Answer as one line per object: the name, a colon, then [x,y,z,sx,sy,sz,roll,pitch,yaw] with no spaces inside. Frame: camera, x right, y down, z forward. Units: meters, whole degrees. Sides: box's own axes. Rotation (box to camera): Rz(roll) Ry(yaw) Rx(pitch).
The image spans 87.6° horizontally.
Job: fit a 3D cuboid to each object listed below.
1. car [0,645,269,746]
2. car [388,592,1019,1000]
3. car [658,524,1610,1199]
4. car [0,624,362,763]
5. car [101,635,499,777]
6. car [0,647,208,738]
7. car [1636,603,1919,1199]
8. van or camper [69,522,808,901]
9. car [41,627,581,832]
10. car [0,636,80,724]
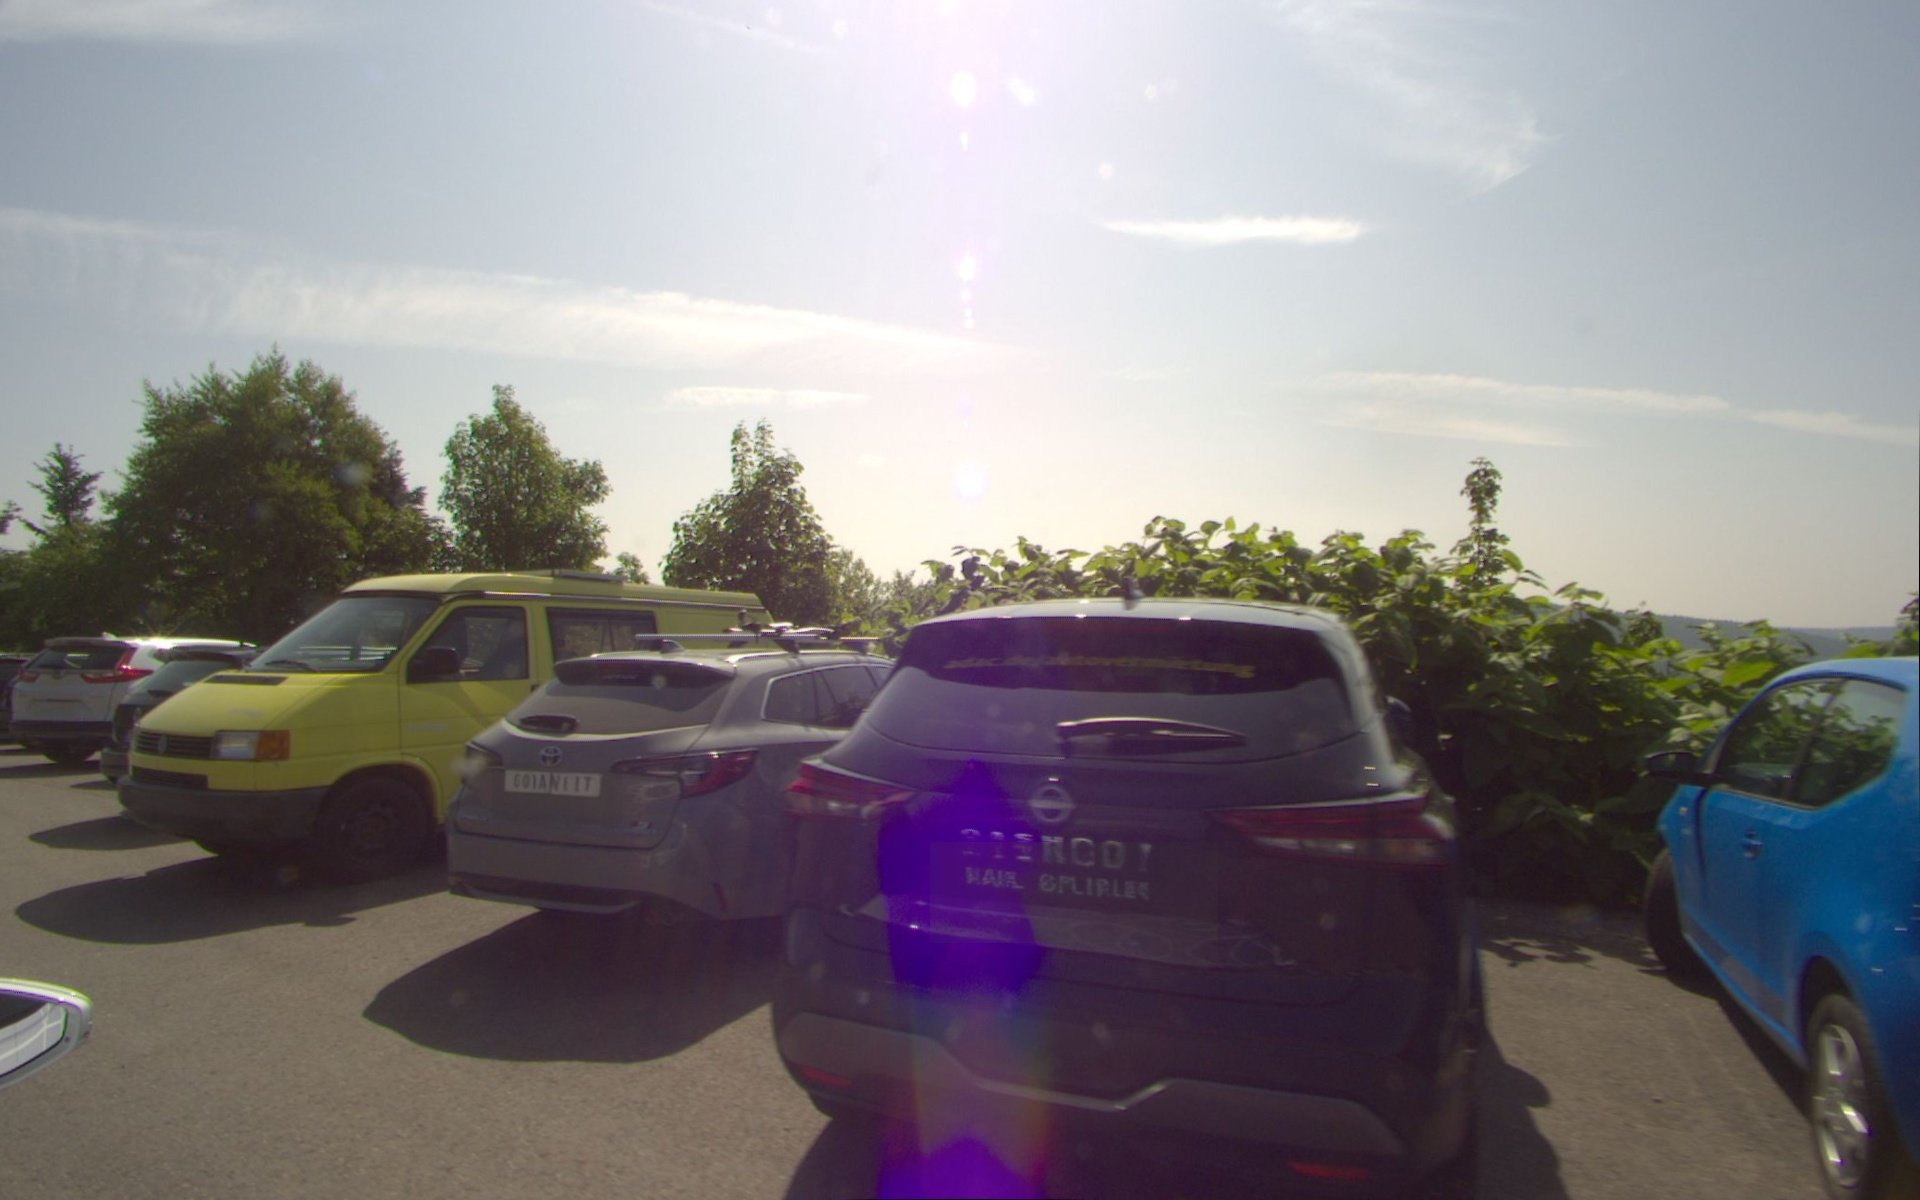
car: [-13.758,1.555,16.689,1.630,1.476,3.811,0,-4,3]
car: [-1.074,0.883,6.218,1.675,1.609,4.158,0,-3,21]
car: [0.884,0.797,3.860,1.883,1.633,3.994,0,-3,20]
car: [-10.868,1.299,14.261,1.855,1.669,4.190,0,-4,6]
car: [-8.165,1.265,12.930,1.908,1.518,4.099,-1,-3,13]
car: [-16.135,1.653,18.250,1.858,1.478,4.057,0,-4,-3]
car: [3.512,0.880,3.332,1.621,1.514,3.583,0,-4,27]
van or camper: [-3.531,0.783,8.092,1.853,2.038,5.092,0,-4,28]
car: [-6.108,1.066,10.119,1.782,1.507,4.353,0,0,22]
car: [-19.543,1.548,19.383,1.829,1.715,4.227,1,-4,-11]
